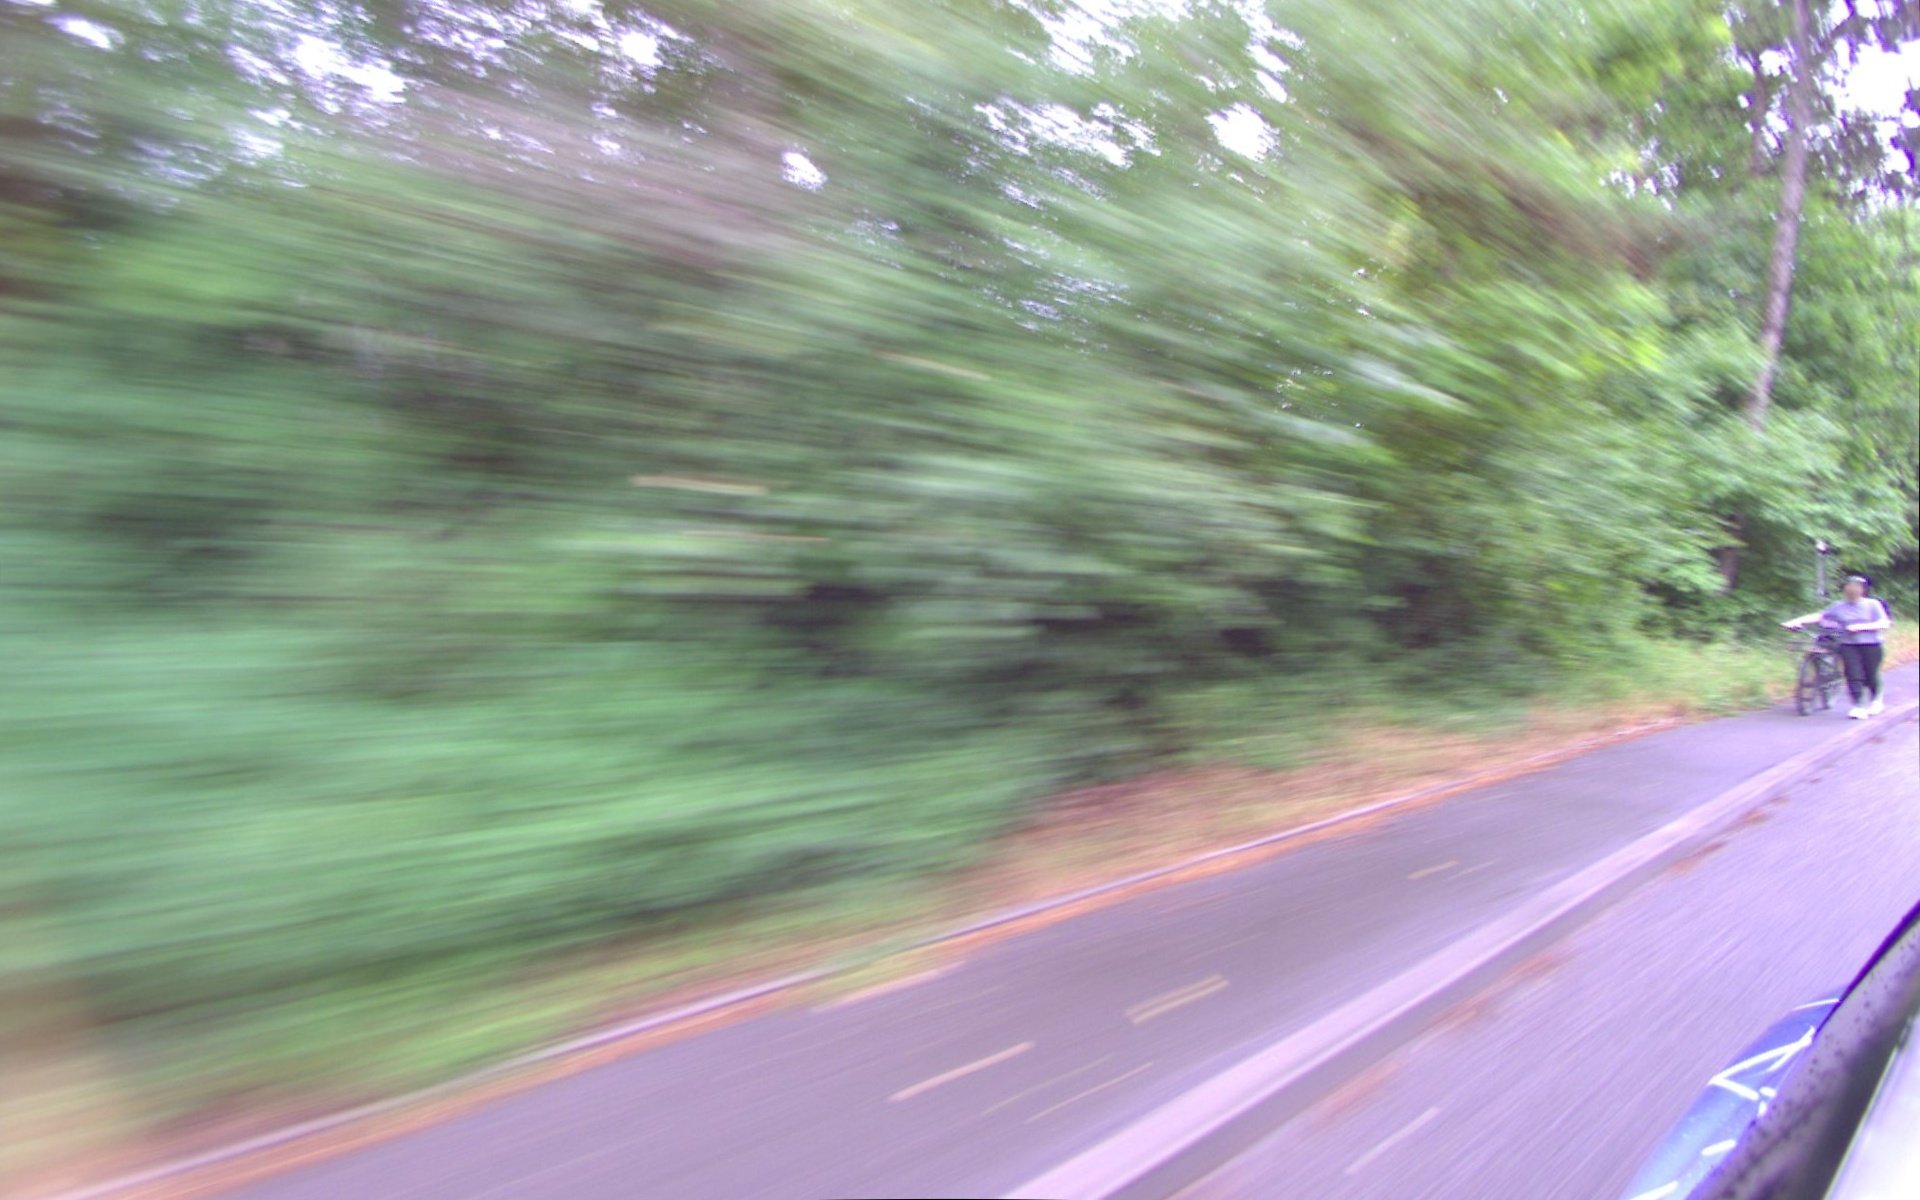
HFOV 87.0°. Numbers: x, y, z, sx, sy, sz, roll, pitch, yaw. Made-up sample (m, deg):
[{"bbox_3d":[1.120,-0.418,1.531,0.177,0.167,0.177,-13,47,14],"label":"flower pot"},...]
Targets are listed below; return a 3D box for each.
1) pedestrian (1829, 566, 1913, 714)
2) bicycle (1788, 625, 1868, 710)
[{"bbox_3d":[10.408,0.429,11.566,0.756,1.595,0.565,-4,4,-38],"label":"pedestrian"},{"bbox_3d":[10.278,0.770,11.969,1.711,0.859,0.357,-1,5,-39],"label":"bicycle"}]
